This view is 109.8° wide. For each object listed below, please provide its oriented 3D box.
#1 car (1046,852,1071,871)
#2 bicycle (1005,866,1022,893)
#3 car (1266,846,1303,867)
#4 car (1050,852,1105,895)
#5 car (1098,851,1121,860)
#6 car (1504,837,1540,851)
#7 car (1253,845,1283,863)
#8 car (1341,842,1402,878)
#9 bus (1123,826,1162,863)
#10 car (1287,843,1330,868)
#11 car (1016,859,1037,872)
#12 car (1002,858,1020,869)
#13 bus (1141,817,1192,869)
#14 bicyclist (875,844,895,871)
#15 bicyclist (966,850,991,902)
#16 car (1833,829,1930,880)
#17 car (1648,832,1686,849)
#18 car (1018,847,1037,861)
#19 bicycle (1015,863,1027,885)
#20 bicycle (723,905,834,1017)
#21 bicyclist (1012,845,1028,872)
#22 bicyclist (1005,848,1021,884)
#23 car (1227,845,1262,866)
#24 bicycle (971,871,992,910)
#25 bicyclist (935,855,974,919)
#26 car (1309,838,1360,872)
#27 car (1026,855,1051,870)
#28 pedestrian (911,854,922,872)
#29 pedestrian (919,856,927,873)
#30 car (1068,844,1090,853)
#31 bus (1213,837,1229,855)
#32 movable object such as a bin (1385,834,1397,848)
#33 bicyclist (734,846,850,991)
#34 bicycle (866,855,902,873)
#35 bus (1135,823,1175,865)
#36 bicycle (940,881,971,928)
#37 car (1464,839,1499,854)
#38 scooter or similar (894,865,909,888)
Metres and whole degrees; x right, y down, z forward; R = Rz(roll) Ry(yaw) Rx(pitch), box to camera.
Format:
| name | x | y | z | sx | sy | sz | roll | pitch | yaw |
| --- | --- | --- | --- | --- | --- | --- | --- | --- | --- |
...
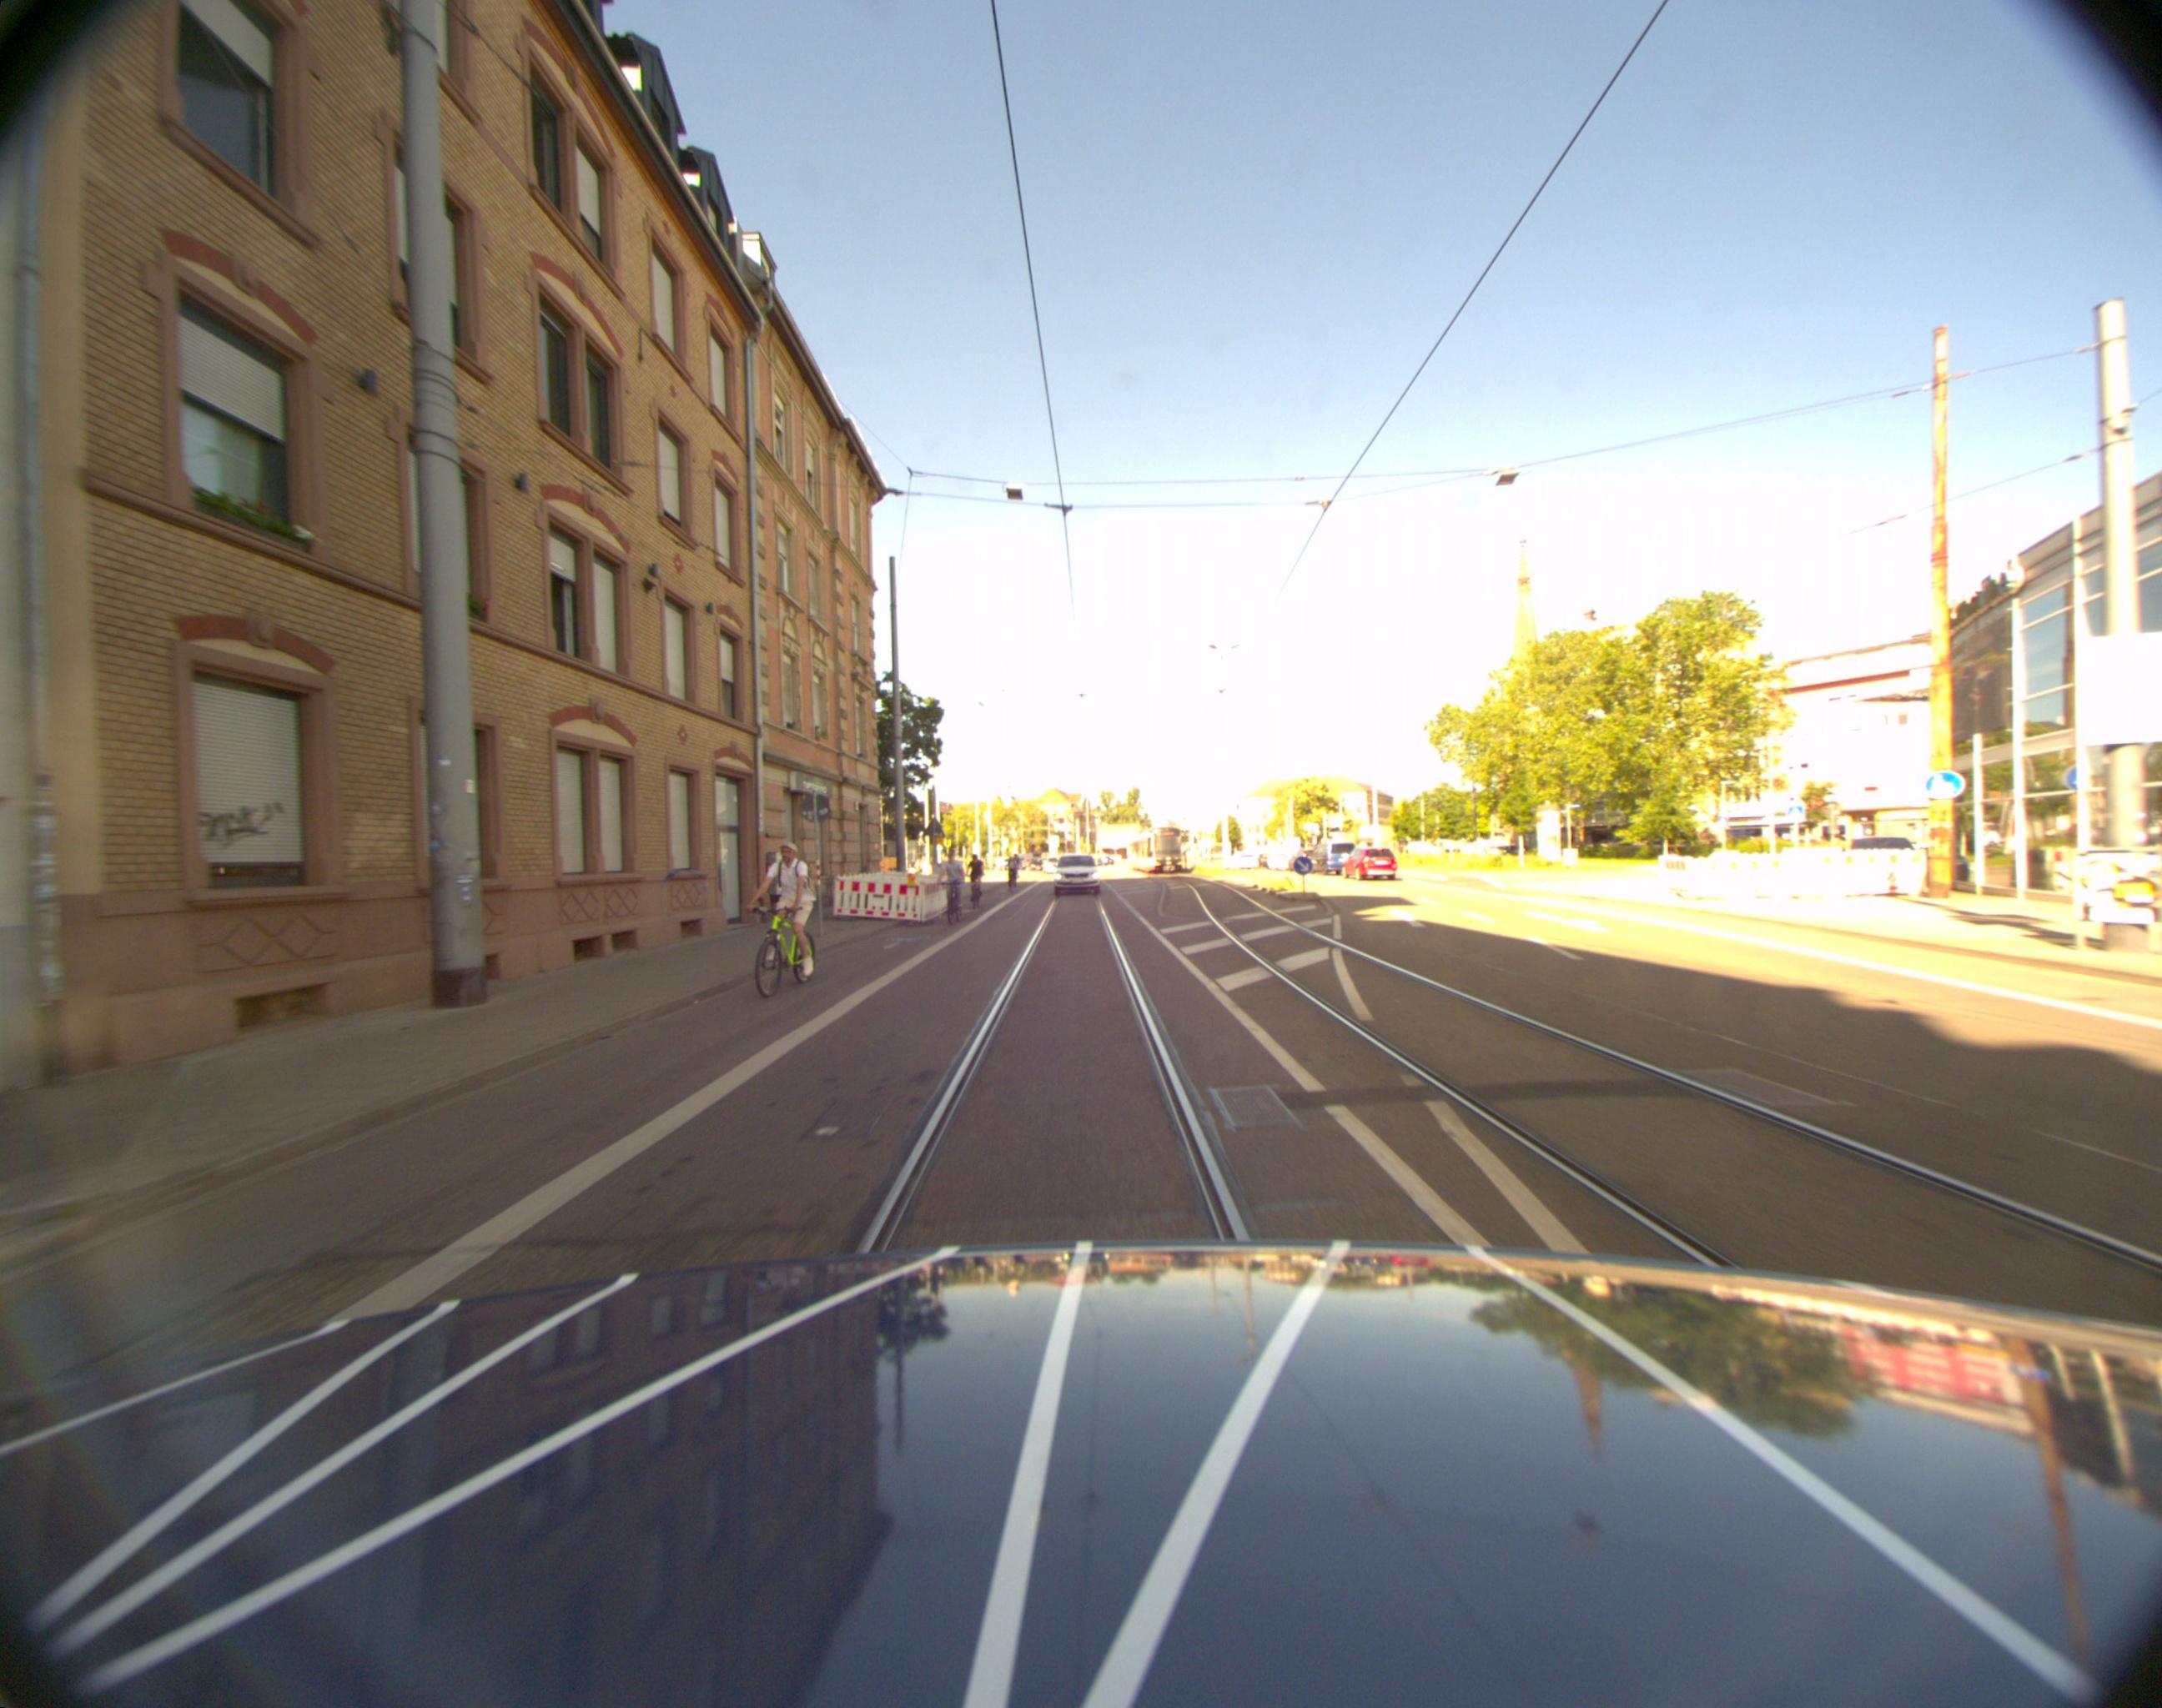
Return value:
| name | x | y | z | sx | sy | sz | roll | pitch | yaw |
| --- | --- | --- | --- | --- | --- | --- | --- | --- | --- |
| car | -2.148 | 0.683 | 71.463 | 1.887 | 1.621 | 4.009 | -4 | 1 | -7 |
| bicycle | -3.044 | 1.141 | 34.342 | 0.533 | 1.111 | 1.933 | -3 | 0 | 0 |
| car | 15.790 | 0.164 | 59.266 | 1.807 | 1.424 | 3.999 | -3 | 1 | 1 |
| car | -0.060 | 0.753 | 31.745 | 1.868 | 1.635 | 4.398 | -2 | 0 | 5 |
| car | 4.646 | 0.253 | 123.202 | 1.915 | 1.449 | 4.591 | -3 | 1 | -22 |
| car | 50.315 | -1.121 | 86.673 | 4.006 | 1.490 | 1.739 | -2 | 0 | -30 |
| car | 15.877 | 0.011 | 64.617 | 1.654 | 1.470 | 3.970 | -1 | 1 | 1 |
| car | 14.638 | 0.250 | 38.539 | 1.803 | 1.709 | 4.417 | -1 | 1 | 6 |
| bus | 6.416 | -0.973 | 81.525 | 2.848 | 3.569 | 13.493 | -2 | 0 | -1 |
| car | 15.642 | 0.085 | 52.482 | 1.807 | 1.569 | 4.164 | -1 | 1 | 1 |
| car | -7.354 | 1.565 | 101.943 | 1.888 | 1.557 | 4.006 | -4 | 1 | -17 |
| car | -10.739 | 1.423 | 116.543 | 1.888 | 1.557 | 4.007 | -4 | 1 | -16 |
| bus | 6.506 | -0.795 | 59.694 | 2.848 | 3.569 | 11.270 | -2 | 0 | 1 |
| bicyclist | -12.816 | 0.232 | 49.697 | 1.048 | 1.651 | 0.453 | -5 | 2 | -40 |
| bicyclist | -3.328 | 0.700 | 24.605 | 0.625 | 1.604 | 0.980 | -4 | 1 | -12 |
| car | 26.355 | -0.003 | 25.147 | 1.754 | 1.527 | 4.008 | -3 | -1 | 40 |
| car | 56.969 | -1.345 | 73.844 | 4.007 | 1.490 | 1.995 | -2 | 0 | -38 |
| car | -11.353 | 0.028 | 162.068 | 2.246 | 2.665 | 5.296 | -4 | 1 | -24 |
| bicycle | -3.244 | 1.065 | 41.154 | 0.533 | 1.152 | 1.865 | -3 | 0 | -1 |
| bicycle | -3.692 | 1.261 | 9.448 | 0.533 | 1.111 | 1.934 | -4 | 0 | 0 |
| bicyclist | -3.298 | 0.254 | 41.117 | 0.675 | 1.413 | 1.036 | -4 | 1 | 0 |
| bicyclist | -3.085 | 0.530 | 34.400 | 0.551 | 1.604 | 0.953 | -4 | 1 | 0 |
| car | 12.873 | 0.084 | 60.178 | 1.807 | 1.424 | 4.540 | -3 | 1 | 1 |
| bicycle | -3.222 | 1.148 | 24.469 | 0.533 | 1.111 | 1.931 | -2 | 2 | -10 |
| bicyclist | -3.232 | 0.821 | 19.474 | 0.784 | 1.584 | 0.886 | -2 | 1 | 1 |
| car | 15.156 | 0.022 | 45.686 | 1.807 | 1.922 | 4.165 | -1 | 1 | 3 |
| car | -4.950 | 0.942 | 87.070 | 1.888 | 1.557 | 4.006 | -4 | 1 | -17 |
| pedestrian | -17.702 | 0.947 | 81.907 | 0.933 | 1.919 | 1.048 | -4 | 1 | -3 |
| pedestrian | -16.709 | 1.063 | 80.409 | 0.661 | 1.747 | 0.823 | -4 | 1 | -3 |
| car | -0.502 | -1.402 | 196.662 | 5.238 | 1.793 | 2.407 | -4 | 1 | -12 |
| bus | 28.592 | -1.672 | 155.363 | 2.846 | 3.104 | 11.824 | -3 | 2 | 12 |
| movable object such as a bin | 37.641 | -1.635 | 92.309 | 0.993 | 1.625 | 0.935 | -4 | 2 | -33 |
| bicyclist | -3.603 | 0.770 | 9.560 | 0.682 | 1.674 | 1.121 | -3 | 1 | 20 |
| bicycle | -12.861 | 0.667 | 49.693 | 2.199 | 1.052 | 0.487 | -3 | 1 | -39 |
| bus | 6.759 | -0.899 | 70.796 | 2.848 | 3.569 | 10.726 | -2 | 0 | 2 |
| bicycle | -3.194 | 1.259 | 19.490 | 0.387 | 1.063 | 1.934 | -2 | 0 | 1 |
| car | 54.685 | -0.979 | 103.835 | 3.992 | 1.742 | 2.002 | -3 | 1 | 19 |
| scooter or similar | -9.362 | 1.162 | 39.691 | 0.271 | 1.150 | 1.703 | -3 | 1 | 1 |
